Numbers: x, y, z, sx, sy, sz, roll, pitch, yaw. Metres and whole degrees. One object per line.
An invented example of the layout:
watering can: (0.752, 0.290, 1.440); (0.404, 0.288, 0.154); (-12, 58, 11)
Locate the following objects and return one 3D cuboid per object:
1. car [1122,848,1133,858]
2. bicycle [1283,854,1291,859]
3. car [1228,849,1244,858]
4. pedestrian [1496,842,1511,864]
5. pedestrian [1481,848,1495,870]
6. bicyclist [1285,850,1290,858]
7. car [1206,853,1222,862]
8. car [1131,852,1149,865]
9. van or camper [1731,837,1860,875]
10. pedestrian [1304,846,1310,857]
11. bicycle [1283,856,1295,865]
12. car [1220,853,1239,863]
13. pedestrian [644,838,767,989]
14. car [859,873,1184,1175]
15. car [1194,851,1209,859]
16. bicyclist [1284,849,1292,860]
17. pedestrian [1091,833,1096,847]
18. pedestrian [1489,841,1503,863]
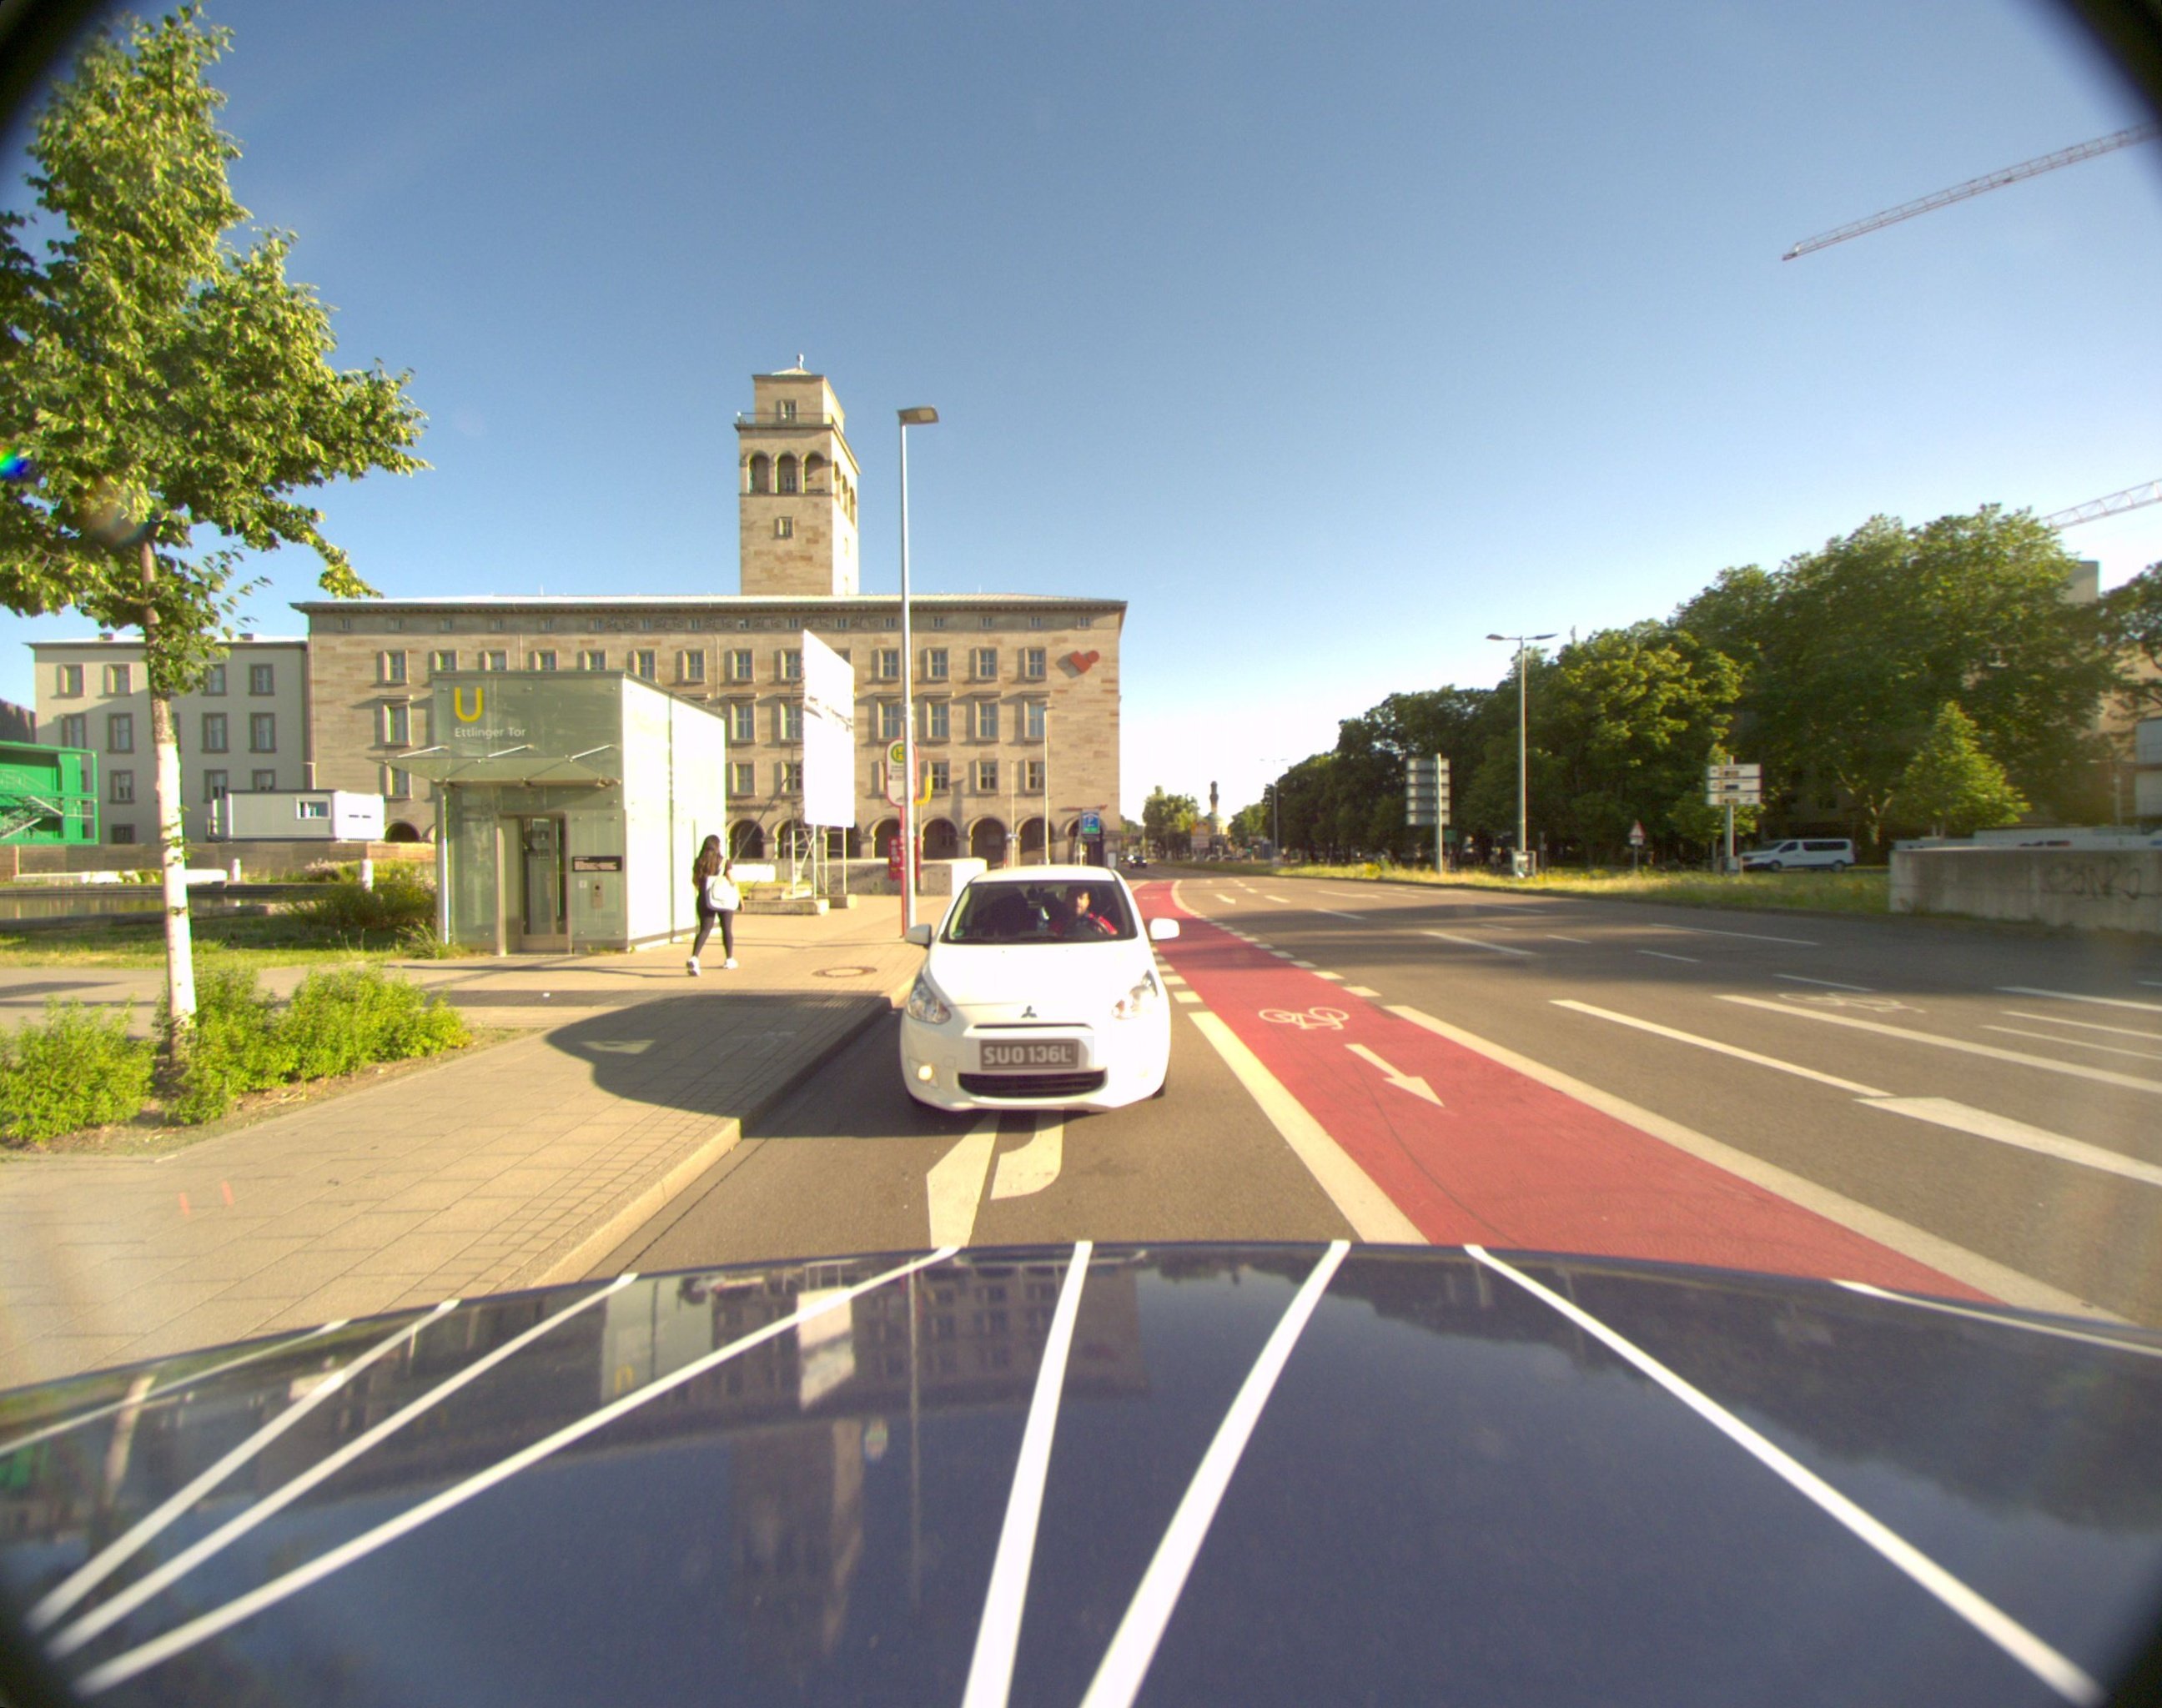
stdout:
car: (8.346, -0.199, 136.643); (1.998, 1.709, 4.326); (-1, 0, 2)
bicycle: (34.168, 0.479, 125.966); (0.609, 0.838, 1.749); (0, 0, 34)
car: (25.728, -0.051, 126.429); (1.998, 1.499, 4.000); (-1, 0, 2)
pedestrian: (33.444, -0.108, 60.150); (0.707, 1.715, 0.762); (-1, 1, 1)
pedestrian: (32.154, 0.399, 60.043); (0.707, 1.715, 0.762); (-1, 1, 1)
bicyclist: (34.165, -0.017, 125.957); (0.609, 1.274, 0.716); (0, 1, 34)
car: (20.923, 0.498, 119.654); (1.872, 1.390, 3.999); (-1, 0, -1)
car: (7.671, 0.581, 99.328); (1.937, 1.634, 4.616); (-1, 0, 0)
van or camper: (42.310, 0.125, 45.083); (5.649, 2.002, 1.948); (-2, 1, 2)
pedestrian: (38.991, -0.454, 131.006); (0.927, 1.837, 0.626); (-1, 1, -30)
bicycle: (24.265, 0.738, 88.677); (0.639, 1.016, 2.242); (-1, 0, -4)
car: (21.295, 0.600, 109.397); (1.872, 1.390, 3.999); (-1, 0, -1)
pedestrian: (-4.653, 0.698, 9.495); (0.942, 1.776, 1.072); (-1, 1, 3)
car: (-0.290, 0.956, 5.985); (1.678, 1.440, 3.889); (-2, 0, 1)
car: (20.891, 0.207, 132.345); (1.873, 1.390, 3.999); (-1, 0, -2)
bicyclist: (24.242, 0.094, 88.822); (0.639, 1.275, 0.885); (-1, 1, -4)
pedestrian: (1.624, -1.888, 100.164); (0.704, 1.843, 0.828); (-1, 1, 0)
pedestrian: (32.824, -0.133, 60.084); (0.665, 1.715, 0.762); (-1, 1, 1)
